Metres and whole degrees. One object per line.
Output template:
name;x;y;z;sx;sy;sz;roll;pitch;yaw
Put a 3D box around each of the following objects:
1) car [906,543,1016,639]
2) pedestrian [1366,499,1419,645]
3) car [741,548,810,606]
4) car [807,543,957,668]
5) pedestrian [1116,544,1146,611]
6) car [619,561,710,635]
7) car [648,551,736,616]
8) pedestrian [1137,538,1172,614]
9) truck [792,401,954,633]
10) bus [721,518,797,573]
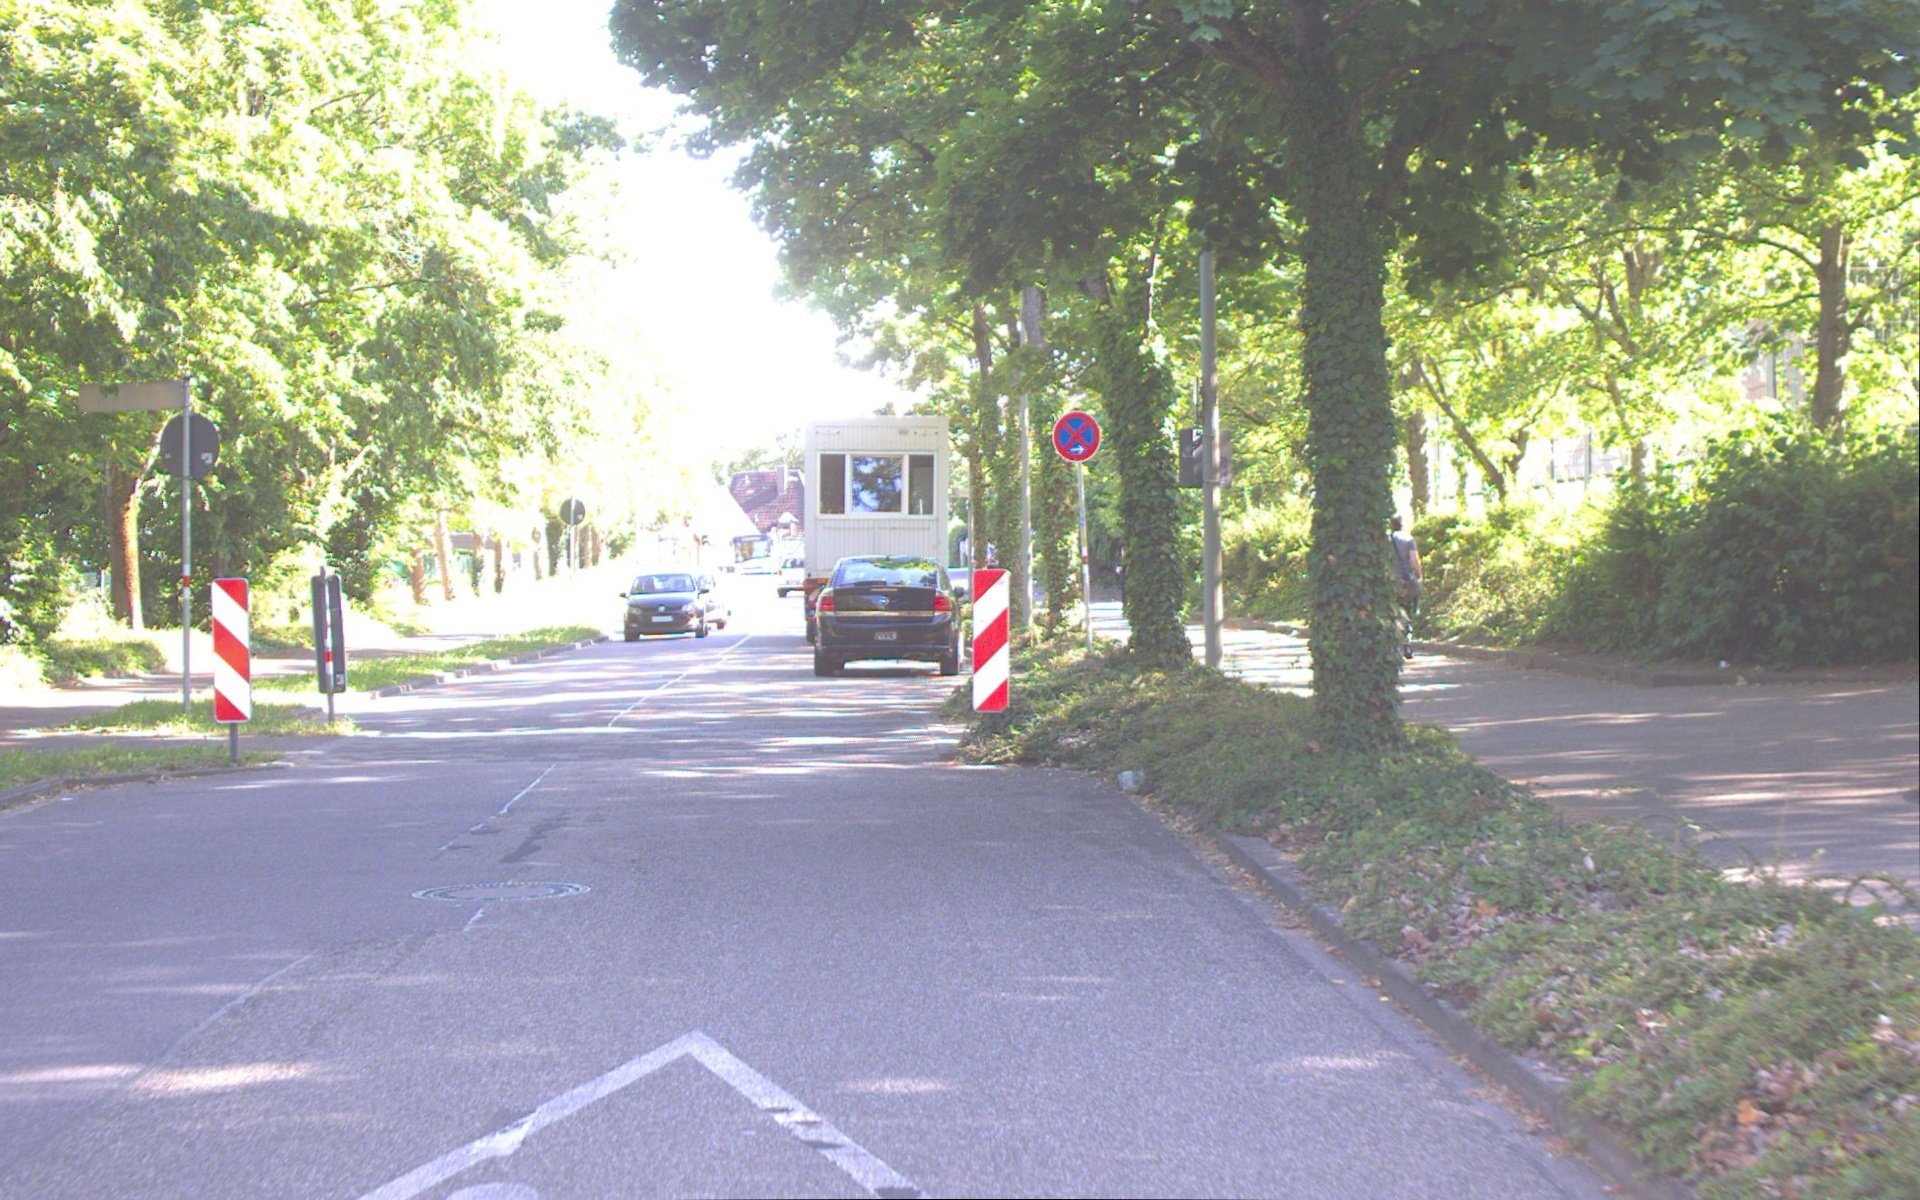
car;0.025;-0.166;55.008;1.640;1.415;4.000;-2;1;0
pedestrian;4.791;-0.313;38.055;0.571;1.602;0.671;0;1;8
car;-6.698;-0.862;125.047;1.994;2.007;4.000;-1;1;4
car;-0.919;0.061;42.445;1.748;1.475;4.030;0;0;0
pedestrian;4.164;-0.552;83.638;0.598;1.605;0.600;-2;1;-5
car;-6.130;-0.056;71.610;1.600;1.421;3.652;-2;1;-1
car;-6.371;-0.413;82.119;1.755;1.449;4.243;-2;1;0
pedestrian;4.713;-0.590;83.253;0.698;1.806;0.700;-2;1;-5
truck;-1.720;-1.512;64.599;2.772;3.982;10.349;0;1;-2
bus;-12.785;-3.484;219.361;4.065;3.337;9.801;-2;1;1
